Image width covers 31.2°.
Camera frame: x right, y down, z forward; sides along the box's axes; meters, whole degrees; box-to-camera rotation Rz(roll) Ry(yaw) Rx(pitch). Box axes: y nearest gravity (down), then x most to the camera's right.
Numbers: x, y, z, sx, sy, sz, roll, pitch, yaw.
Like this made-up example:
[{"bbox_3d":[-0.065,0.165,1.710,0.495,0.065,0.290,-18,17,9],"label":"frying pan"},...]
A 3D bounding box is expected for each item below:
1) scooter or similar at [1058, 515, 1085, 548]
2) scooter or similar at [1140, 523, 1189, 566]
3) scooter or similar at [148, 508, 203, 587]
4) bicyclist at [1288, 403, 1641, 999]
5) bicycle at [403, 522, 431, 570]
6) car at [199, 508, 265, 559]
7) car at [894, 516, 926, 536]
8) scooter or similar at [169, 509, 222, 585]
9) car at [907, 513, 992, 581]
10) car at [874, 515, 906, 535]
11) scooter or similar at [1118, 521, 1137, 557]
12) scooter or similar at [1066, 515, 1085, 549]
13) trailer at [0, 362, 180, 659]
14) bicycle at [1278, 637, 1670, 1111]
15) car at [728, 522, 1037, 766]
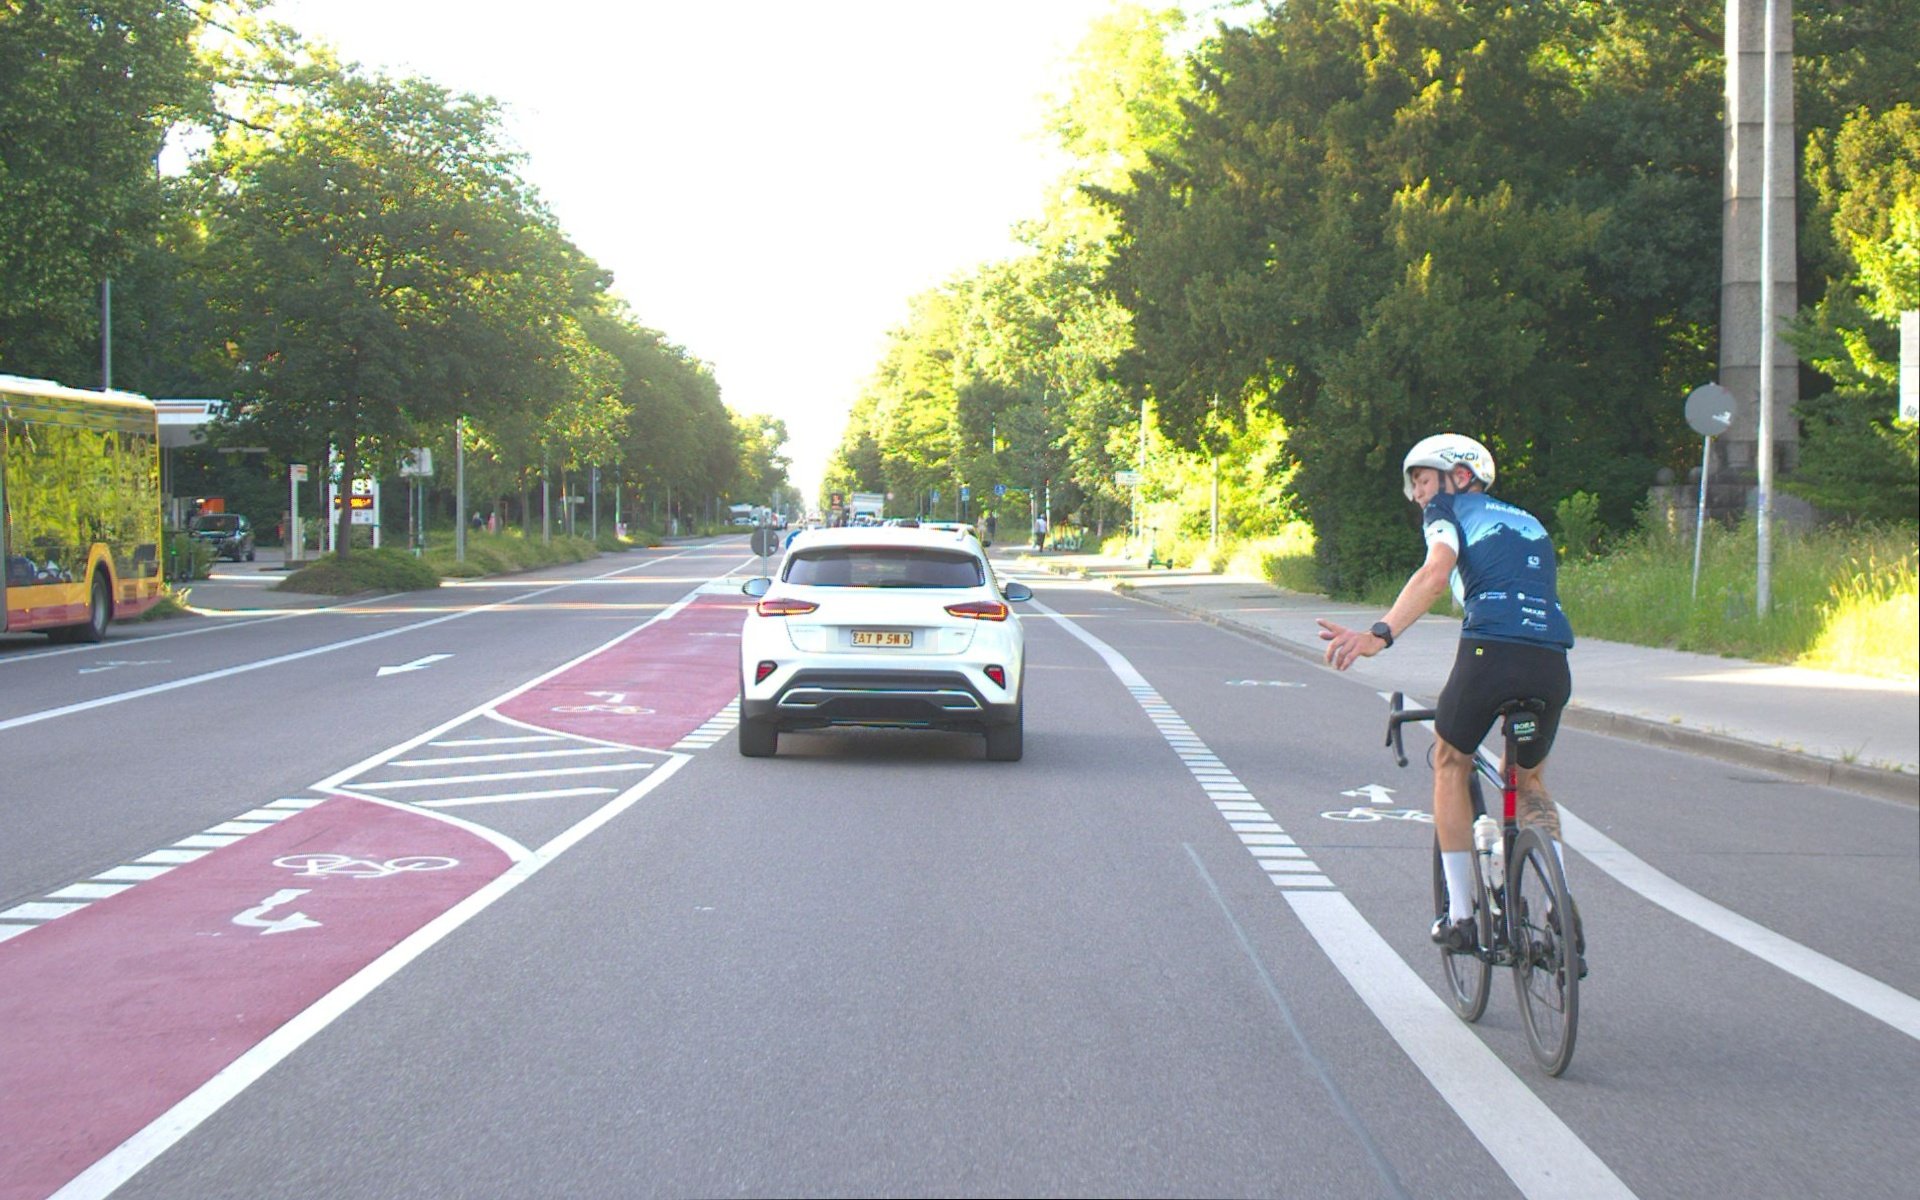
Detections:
[{"bbox_3d":[4.763,-2.938,147.322,0.682,1.418,1.682,0,1,-15],"label":"scooter or similar"},{"bbox_3d":[5.939,-1.610,99.775,1.537,1.245,0.534,-1,2,-45],"label":"scooter or similar"},{"bbox_3d":[-17.250,-1.170,75.635,0.827,1.711,1.741,0,1,-1],"label":"scooter or similar"},{"bbox_3d":[1.382,0.257,9.586,0.860,1.562,0.881,2,1,4],"label":"bicyclist"},{"bbox_3d":[-14.433,-1.440,91.451,0.654,1.246,2.160,0,1,-7],"label":"bicycle"},{"bbox_3d":[-24.455,-2.249,115.580,1.710,1.685,4.455,0,1,-6],"label":"car"},{"bbox_3d":[-3.314,-4.870,225.616,1.993,1.322,4.001,0,1,-2],"label":"car"},{"bbox_3d":[-17.244,-1.208,77.578,0.827,1.711,1.741,0,1,-1],"label":"scooter or similar"},{"bbox_3d":[-0.205,-1.143,73.063,1.676,1.413,3.574,0,1,2],"label":"car"},{"bbox_3d":[-4.922,-5.269,241.277,1.993,1.322,4.001,0,1,-5],"label":"car"},{"bbox_3d":[5.717,-2.091,117.624,0.533,1.245,1.541,0,1,-2],"label":"scooter or similar"},{"bbox_3d":[4.828,-2.833,143.372,0.682,1.418,1.682,0,1,-2],"label":"scooter or similar"},{"bbox_3d":[-12.196,-1.119,42.406,2.855,3.344,9.363,2,1,1],"label":"trailer"},{"bbox_3d":[1.395,0.703,9.753,0.891,1.091,2.136,2,2,4],"label":"bicycle"},{"bbox_3d":[-0.599,0.232,22.981,1.761,1.454,3.819,1,1,-5],"label":"car"}]
